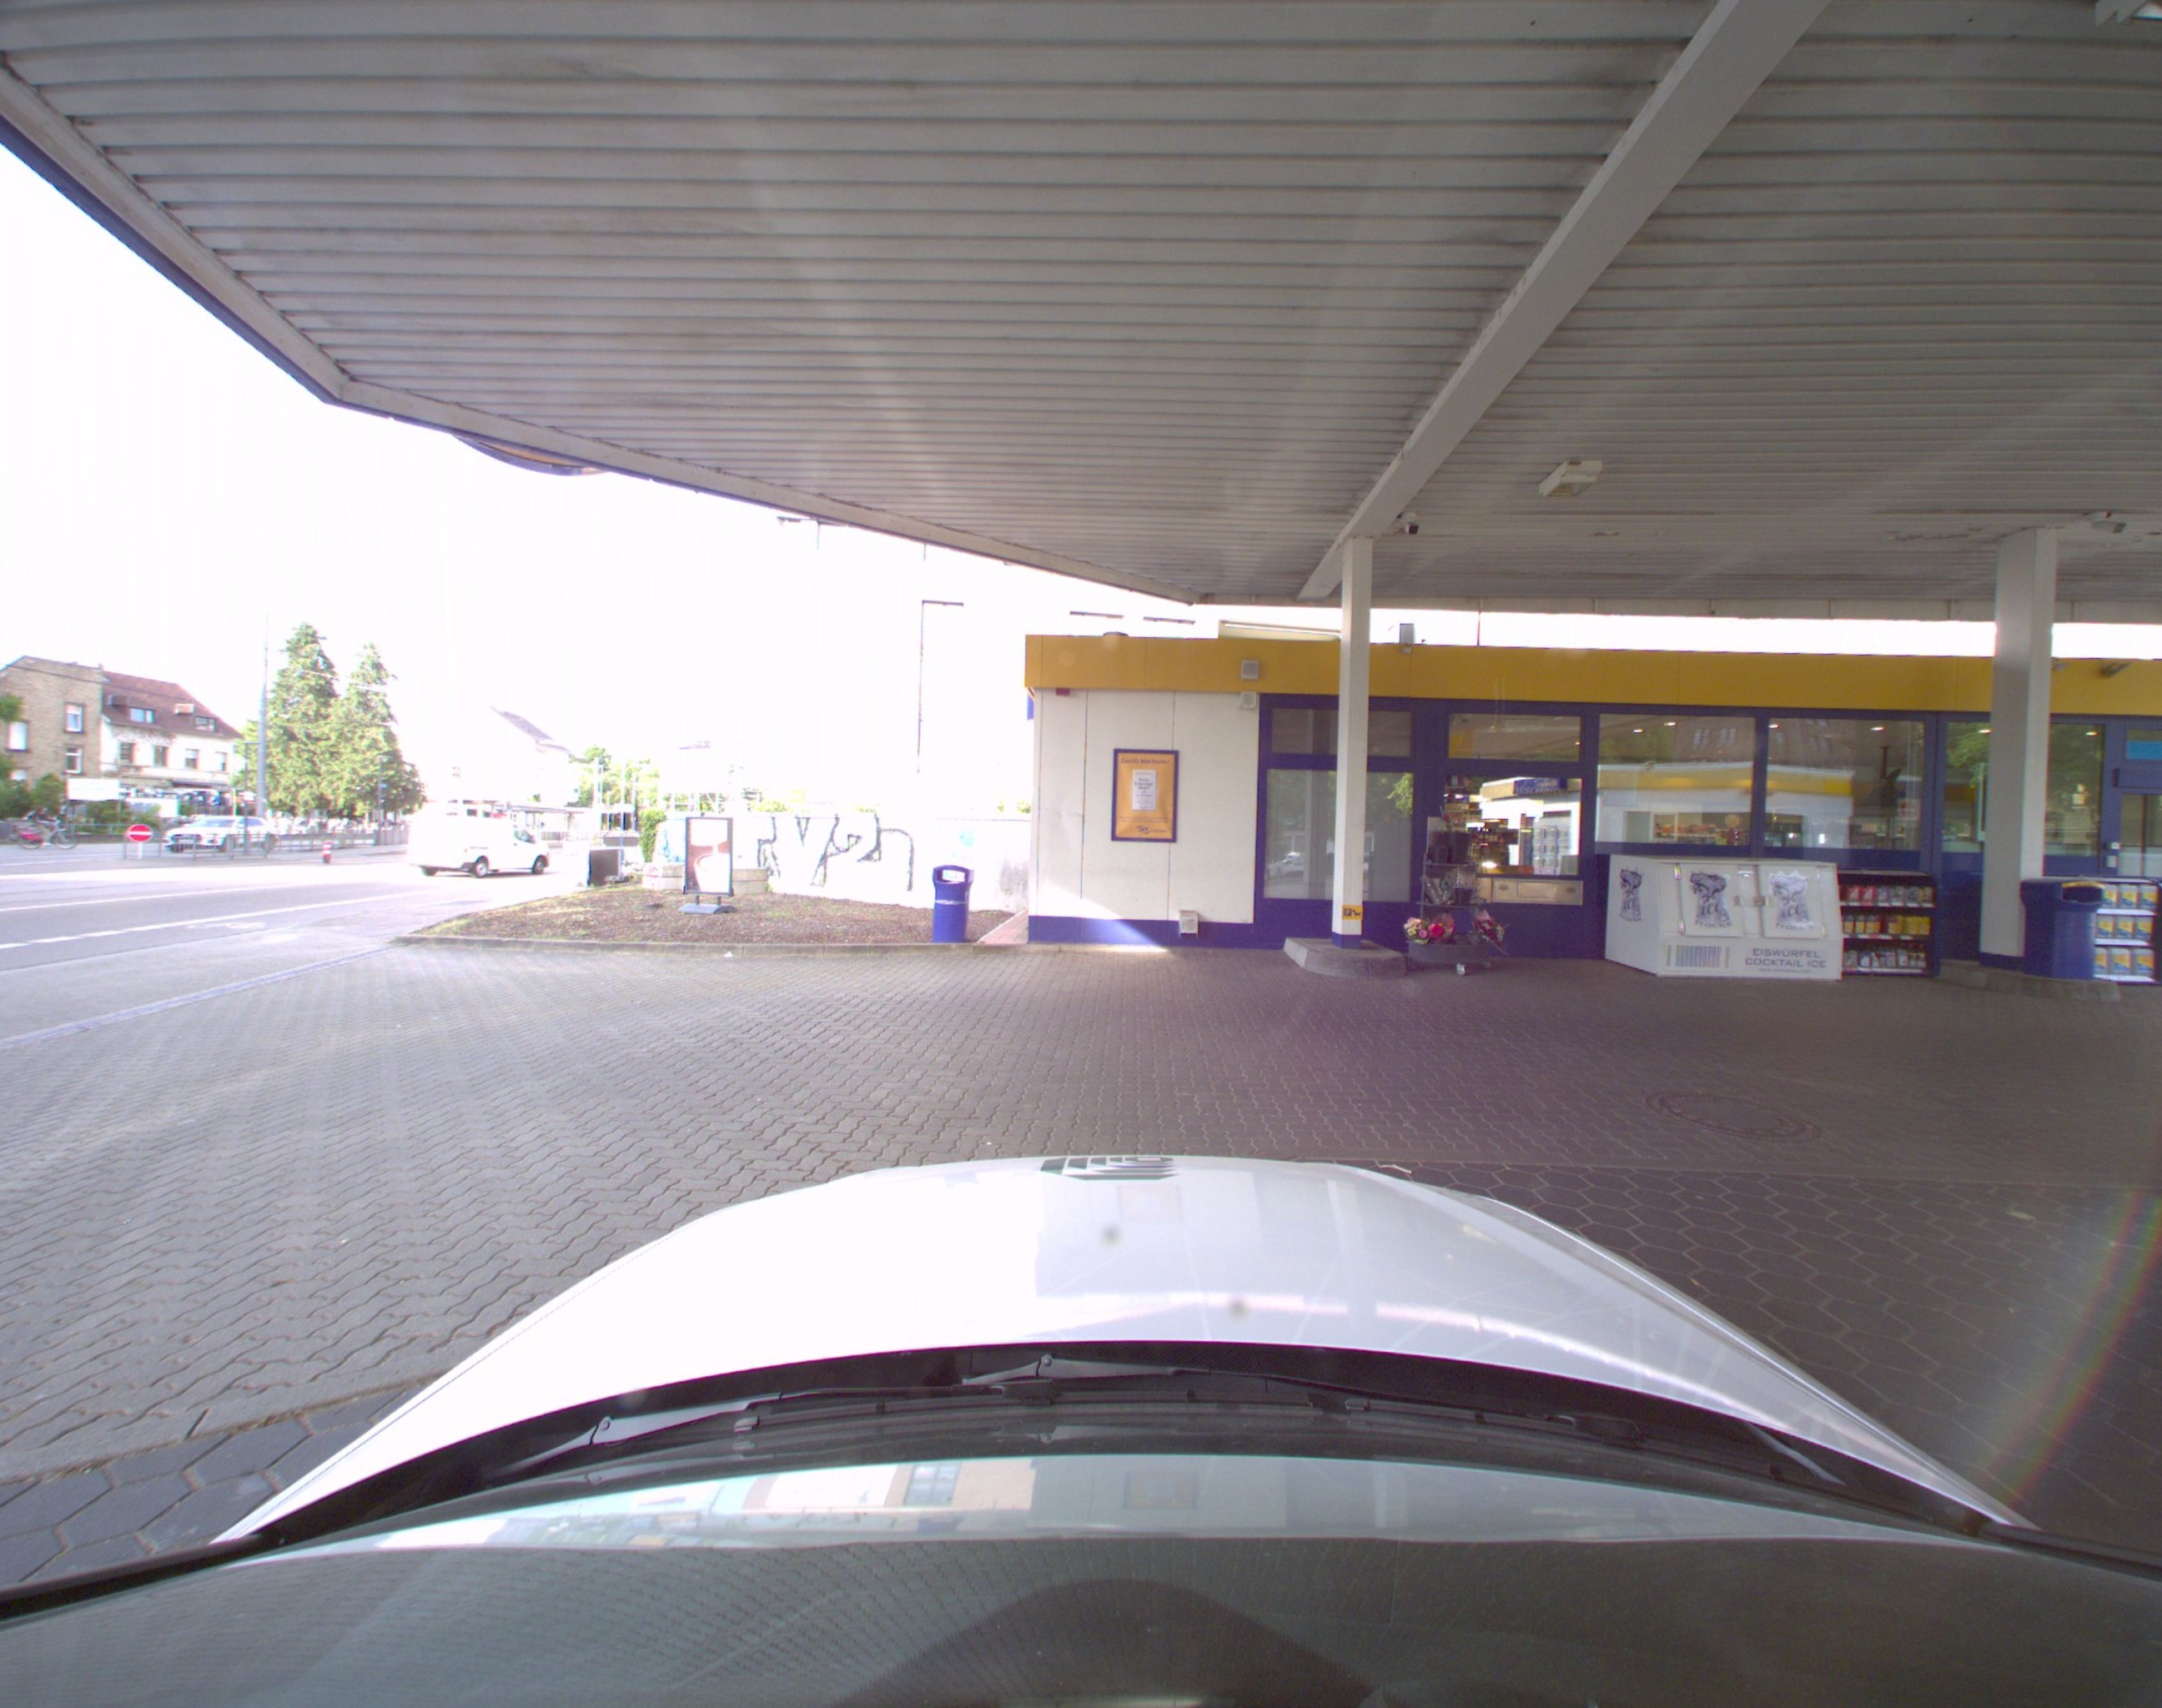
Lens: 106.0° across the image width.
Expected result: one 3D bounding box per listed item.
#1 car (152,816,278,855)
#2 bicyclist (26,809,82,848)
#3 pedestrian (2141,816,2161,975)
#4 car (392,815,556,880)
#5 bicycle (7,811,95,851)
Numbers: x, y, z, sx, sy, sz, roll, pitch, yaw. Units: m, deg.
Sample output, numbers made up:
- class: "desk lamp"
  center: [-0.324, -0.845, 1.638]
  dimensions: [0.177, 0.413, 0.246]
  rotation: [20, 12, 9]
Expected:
- class: "car"
  center: [-37.486, -0.835, 35.412]
  dimensions: [1.840, 1.576, 4.356]
  rotation: [0, 2, -18]
- class: "bicyclist"
  center: [-41.224, -1.026, 32.695]
  dimensions: [0.781, 1.492, 1.099]
  rotation: [4, 0, 11]
- class: "pedestrian"
  center: [12.897, 0.483, 9.226]
  dimensions: [0.806, 1.815, 0.975]
  rotation: [1, 0, -31]
- class: "car"
  center: [-19.385, -0.212, 26.289]
  dimensions: [1.956, 1.889, 4.410]
  rotation: [1, 0, -1]
- class: "bicycle"
  center: [-41.241, -0.892, 32.645]
  dimensions: [0.781, 1.492, 1.998]
  rotation: [4, 0, 11]
